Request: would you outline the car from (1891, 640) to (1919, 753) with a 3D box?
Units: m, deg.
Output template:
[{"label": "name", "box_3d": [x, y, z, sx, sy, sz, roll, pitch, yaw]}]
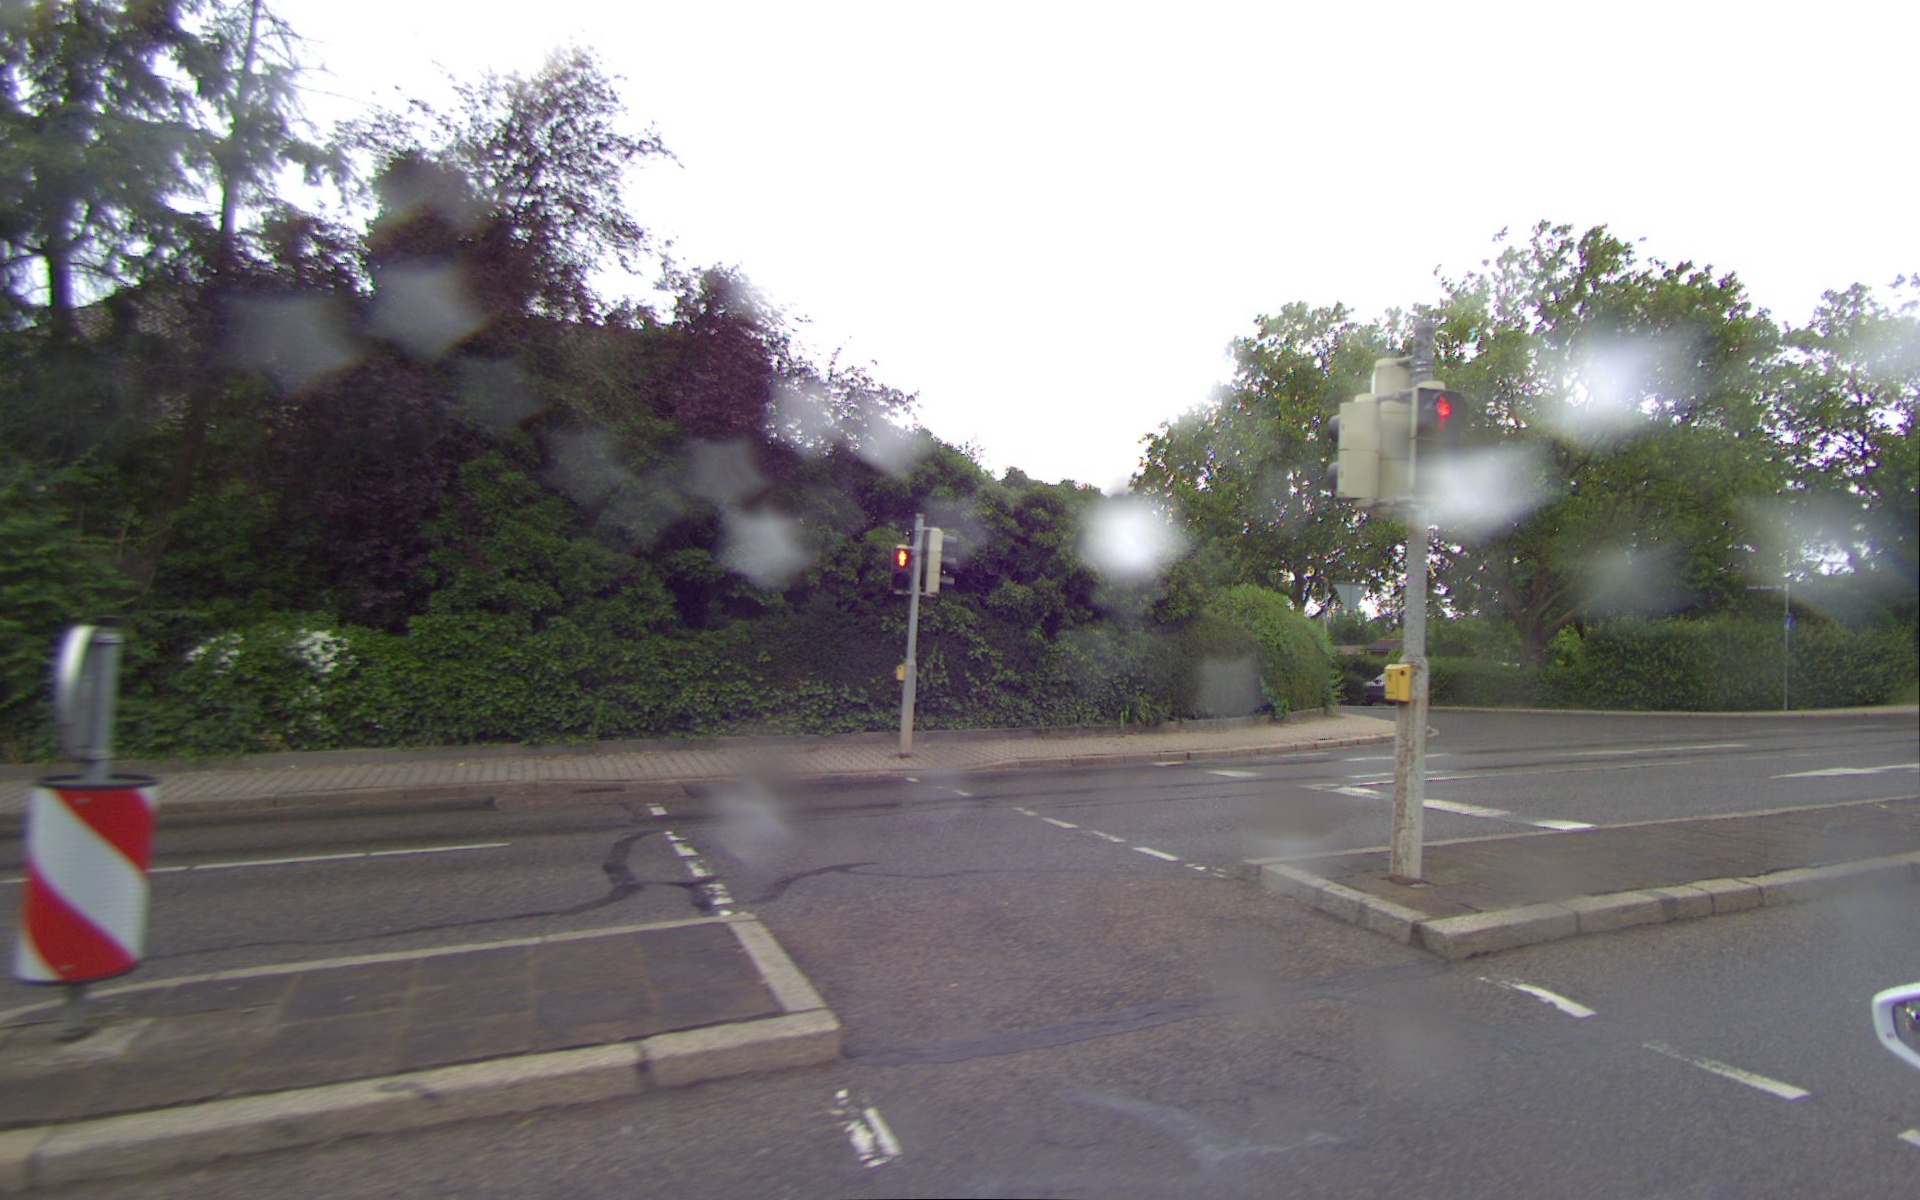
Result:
[{"label": "car", "box_3d": [15.582, 1.363, 14.307, 3.823, 1.583, 2.021, 1, -4, -24]}]
